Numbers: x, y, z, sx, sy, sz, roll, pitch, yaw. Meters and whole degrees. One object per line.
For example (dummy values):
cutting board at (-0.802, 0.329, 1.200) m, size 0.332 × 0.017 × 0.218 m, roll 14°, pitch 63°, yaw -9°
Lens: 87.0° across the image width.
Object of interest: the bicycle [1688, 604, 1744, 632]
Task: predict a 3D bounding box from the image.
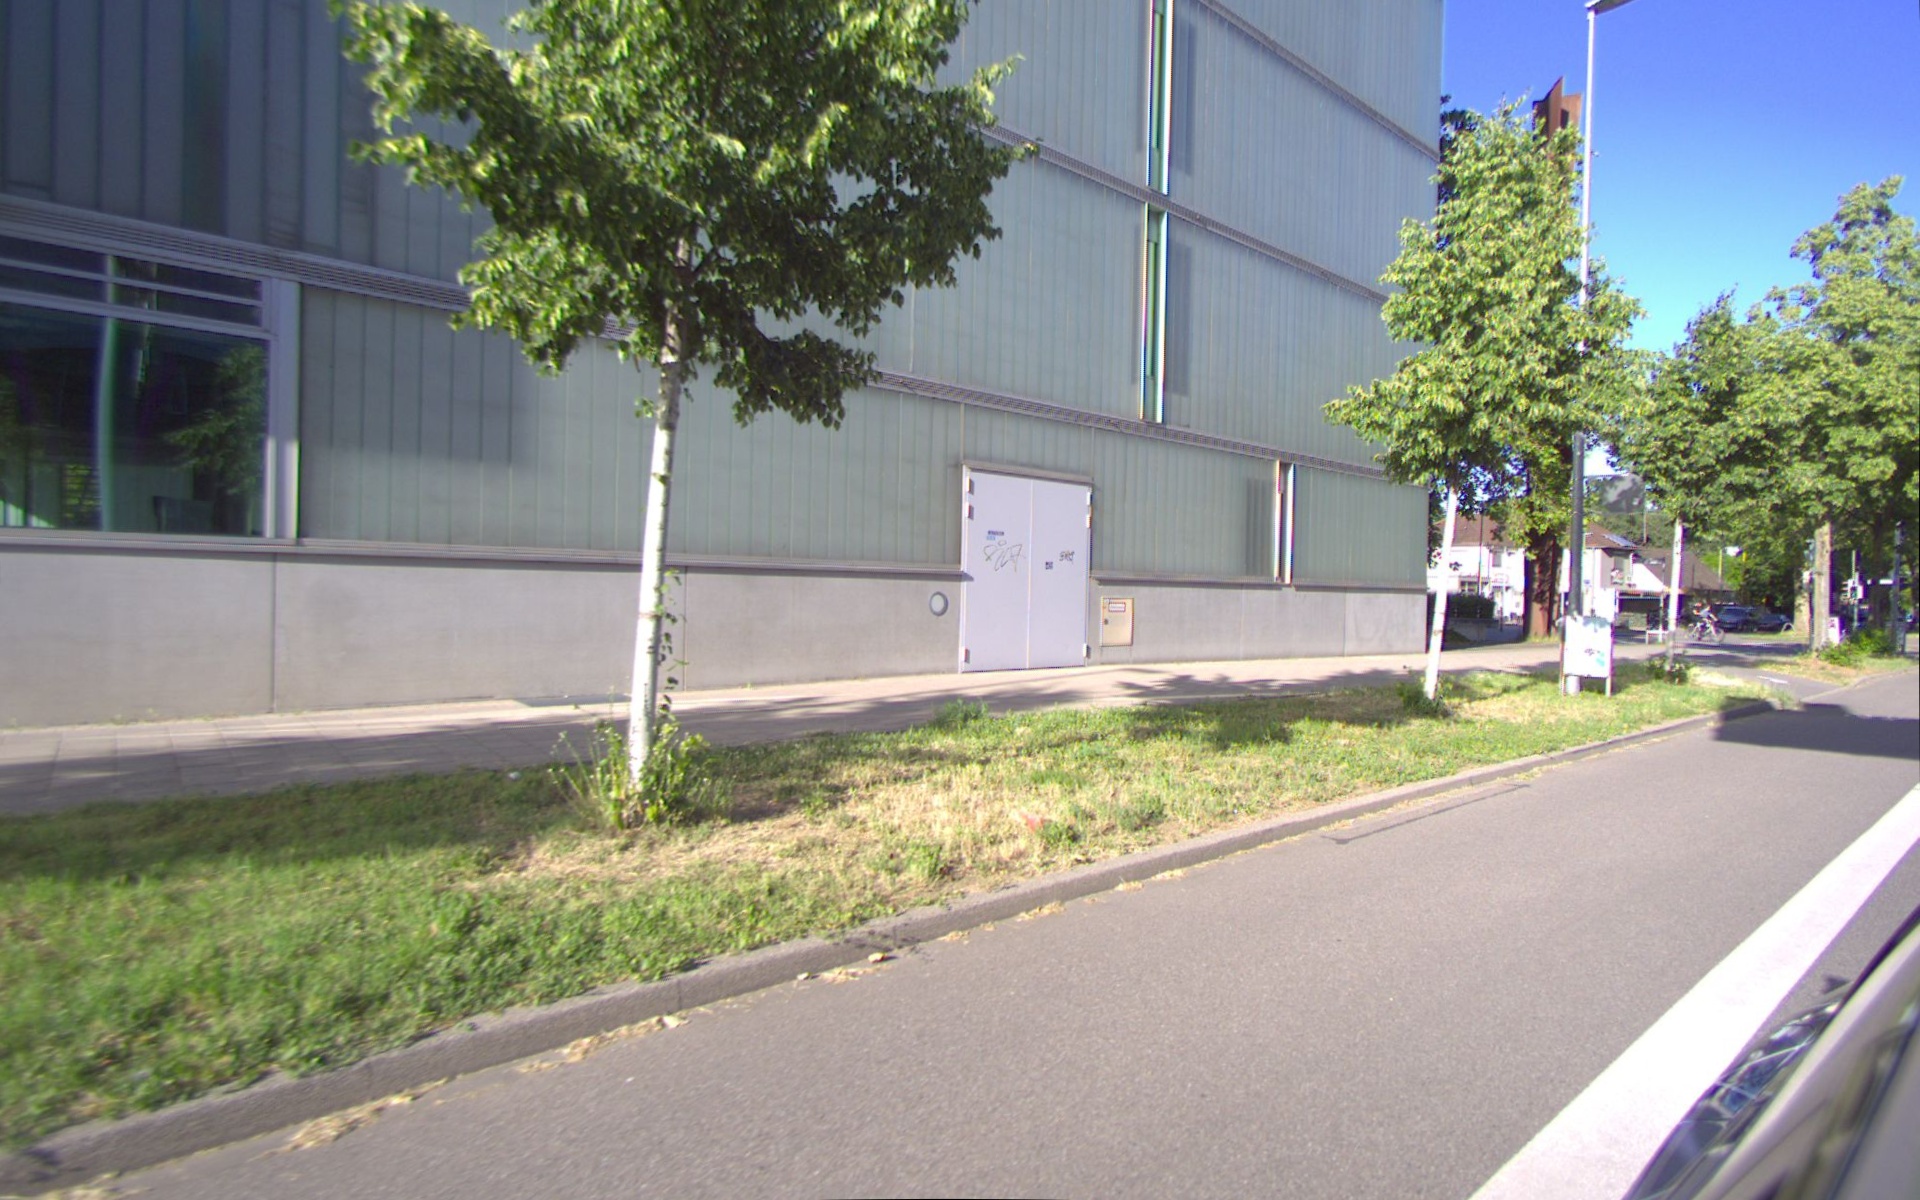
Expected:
bicycle at (36.422, 0.855, 48.796) m, size 0.540 × 1.219 × 2.107 m, roll 2°, pitch 1°, yaw -28°

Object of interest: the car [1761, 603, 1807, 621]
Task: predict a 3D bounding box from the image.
car at (71.694, 1.049, 88.015) m, size 4.820 × 1.504 × 1.900 m, roll 0°, pitch 0°, yaw -35°

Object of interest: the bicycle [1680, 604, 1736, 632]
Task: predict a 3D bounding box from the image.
bicycle at (35.652, 0.849, 48.288) m, size 0.540 × 1.219 × 2.108 m, roll 2°, pitch 1°, yaw -25°

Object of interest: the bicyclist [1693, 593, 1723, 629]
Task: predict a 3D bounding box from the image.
bicyclist at (35.659, 0.532, 48.254) m, size 0.777 × 1.674 × 0.878 m, roll 2°, pitch 0°, yaw -29°

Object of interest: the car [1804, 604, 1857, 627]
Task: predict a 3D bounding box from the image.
car at (57.348, 0.996, 66.642) m, size 3.962 × 1.484 × 1.899 m, roll 0°, pitch 0°, yaw -38°

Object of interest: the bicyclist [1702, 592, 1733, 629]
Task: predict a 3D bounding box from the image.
bicyclist at (36.448, 0.491, 48.715) m, size 0.815 × 1.759 × 0.878 m, roll 2°, pitch 0°, yaw -29°

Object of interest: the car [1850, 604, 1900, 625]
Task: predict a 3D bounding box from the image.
car at (67.948, 1.085, 75.121) m, size 4.264 × 1.507 × 1.900 m, roll 0°, pitch 0°, yaw -36°

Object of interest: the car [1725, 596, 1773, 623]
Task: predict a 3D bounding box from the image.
car at (64.042, 0.763, 82.102) m, size 4.978 × 2.062 × 1.899 m, roll 0°, pitch 2°, yaw -38°
